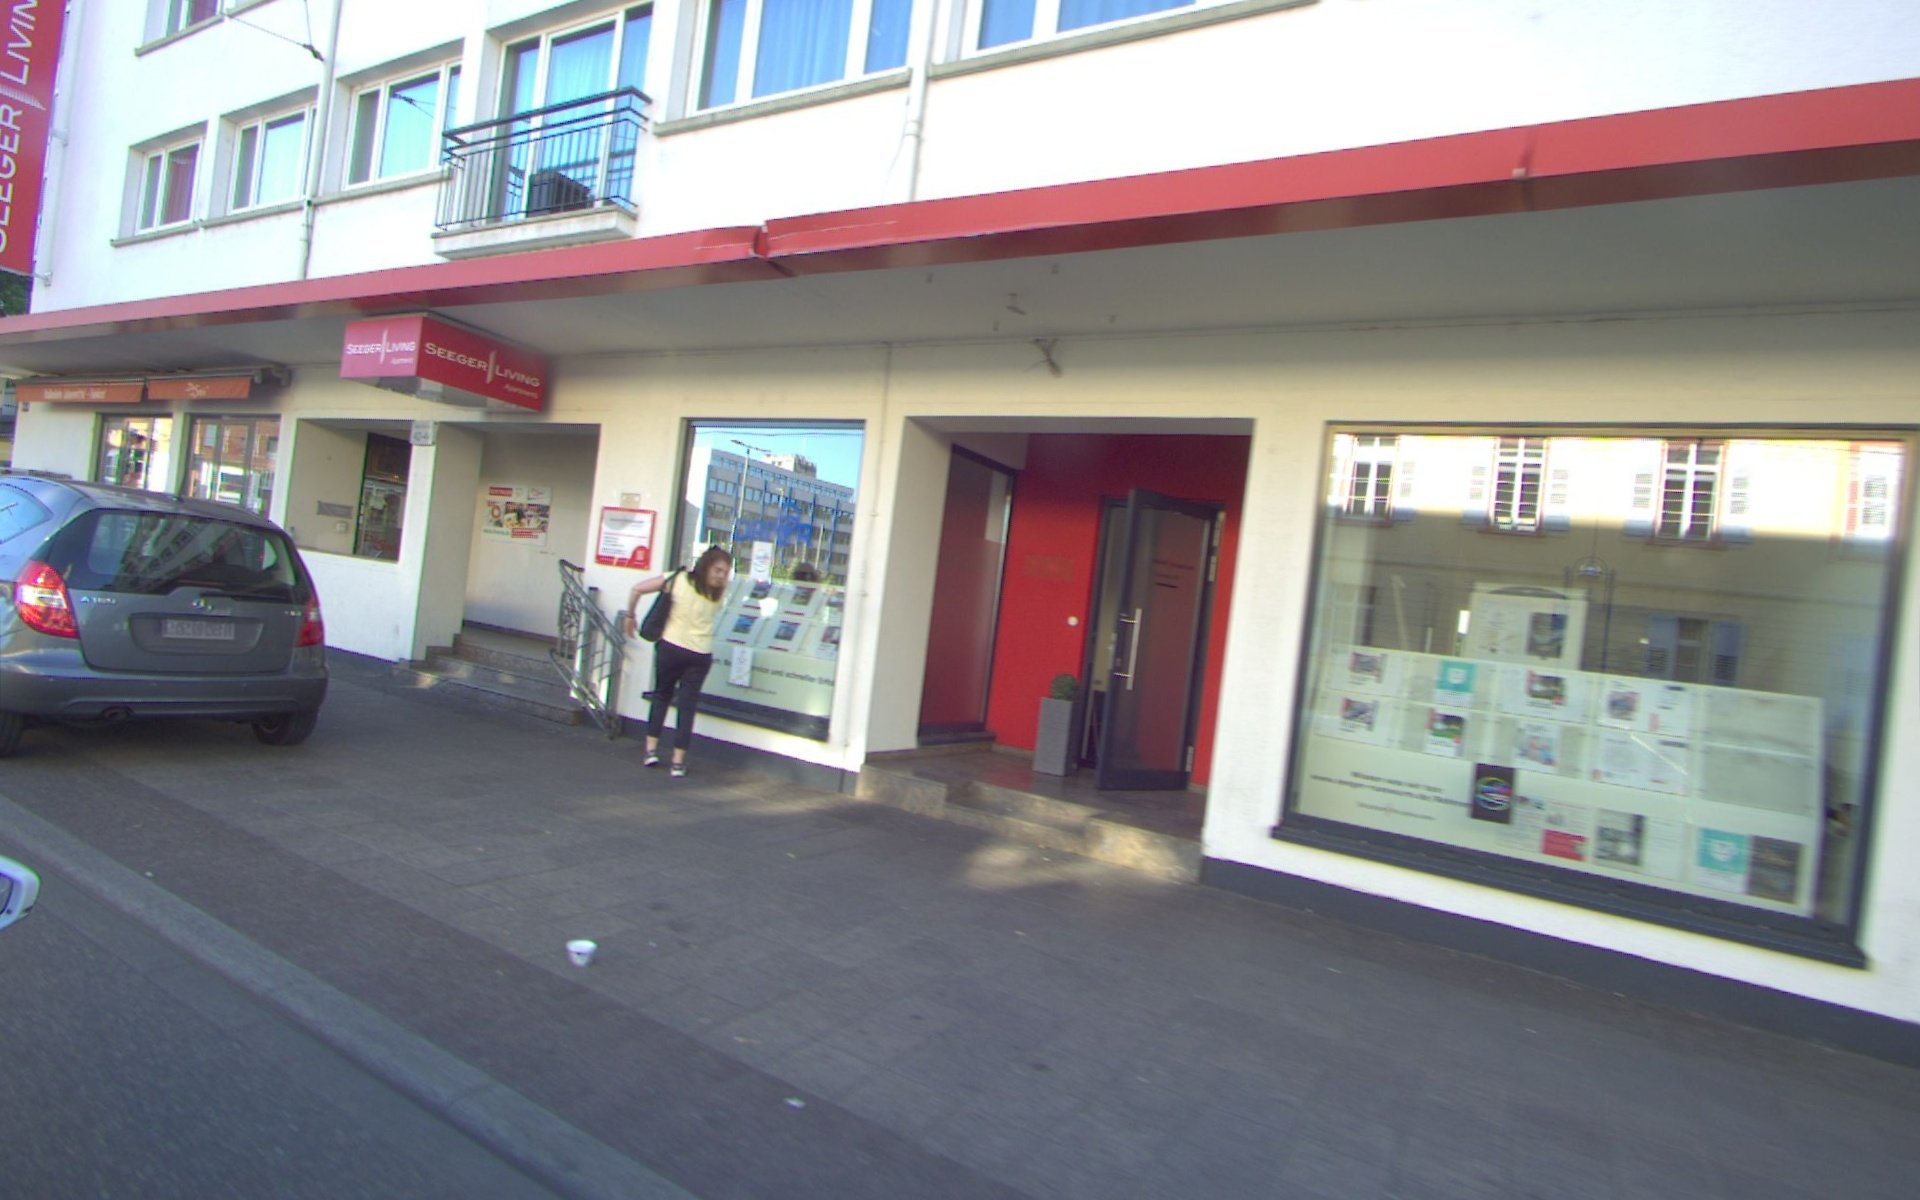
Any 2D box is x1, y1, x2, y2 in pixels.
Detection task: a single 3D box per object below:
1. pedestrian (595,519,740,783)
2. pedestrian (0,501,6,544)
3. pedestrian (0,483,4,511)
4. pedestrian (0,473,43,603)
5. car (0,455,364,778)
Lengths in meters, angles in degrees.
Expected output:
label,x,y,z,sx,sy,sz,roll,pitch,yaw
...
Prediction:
label,x,y,z,sx,sy,sz,roll,pitch,yaw
pedestrian,-2.184,0.372,7.573,0.793,1.796,0.930,7,0,-16
pedestrian,-29.602,-2.392,30.760,0.522,1.296,0.420,7,0,33
pedestrian,-26.252,-2.332,26.690,0.519,1.761,1.009,8,-2,7
pedestrian,-13.154,-0.877,13.627,0.813,1.702,0.708,9,-2,-36
car,-5.959,-0.039,6.806,3.588,1.652,1.747,7,1,32
